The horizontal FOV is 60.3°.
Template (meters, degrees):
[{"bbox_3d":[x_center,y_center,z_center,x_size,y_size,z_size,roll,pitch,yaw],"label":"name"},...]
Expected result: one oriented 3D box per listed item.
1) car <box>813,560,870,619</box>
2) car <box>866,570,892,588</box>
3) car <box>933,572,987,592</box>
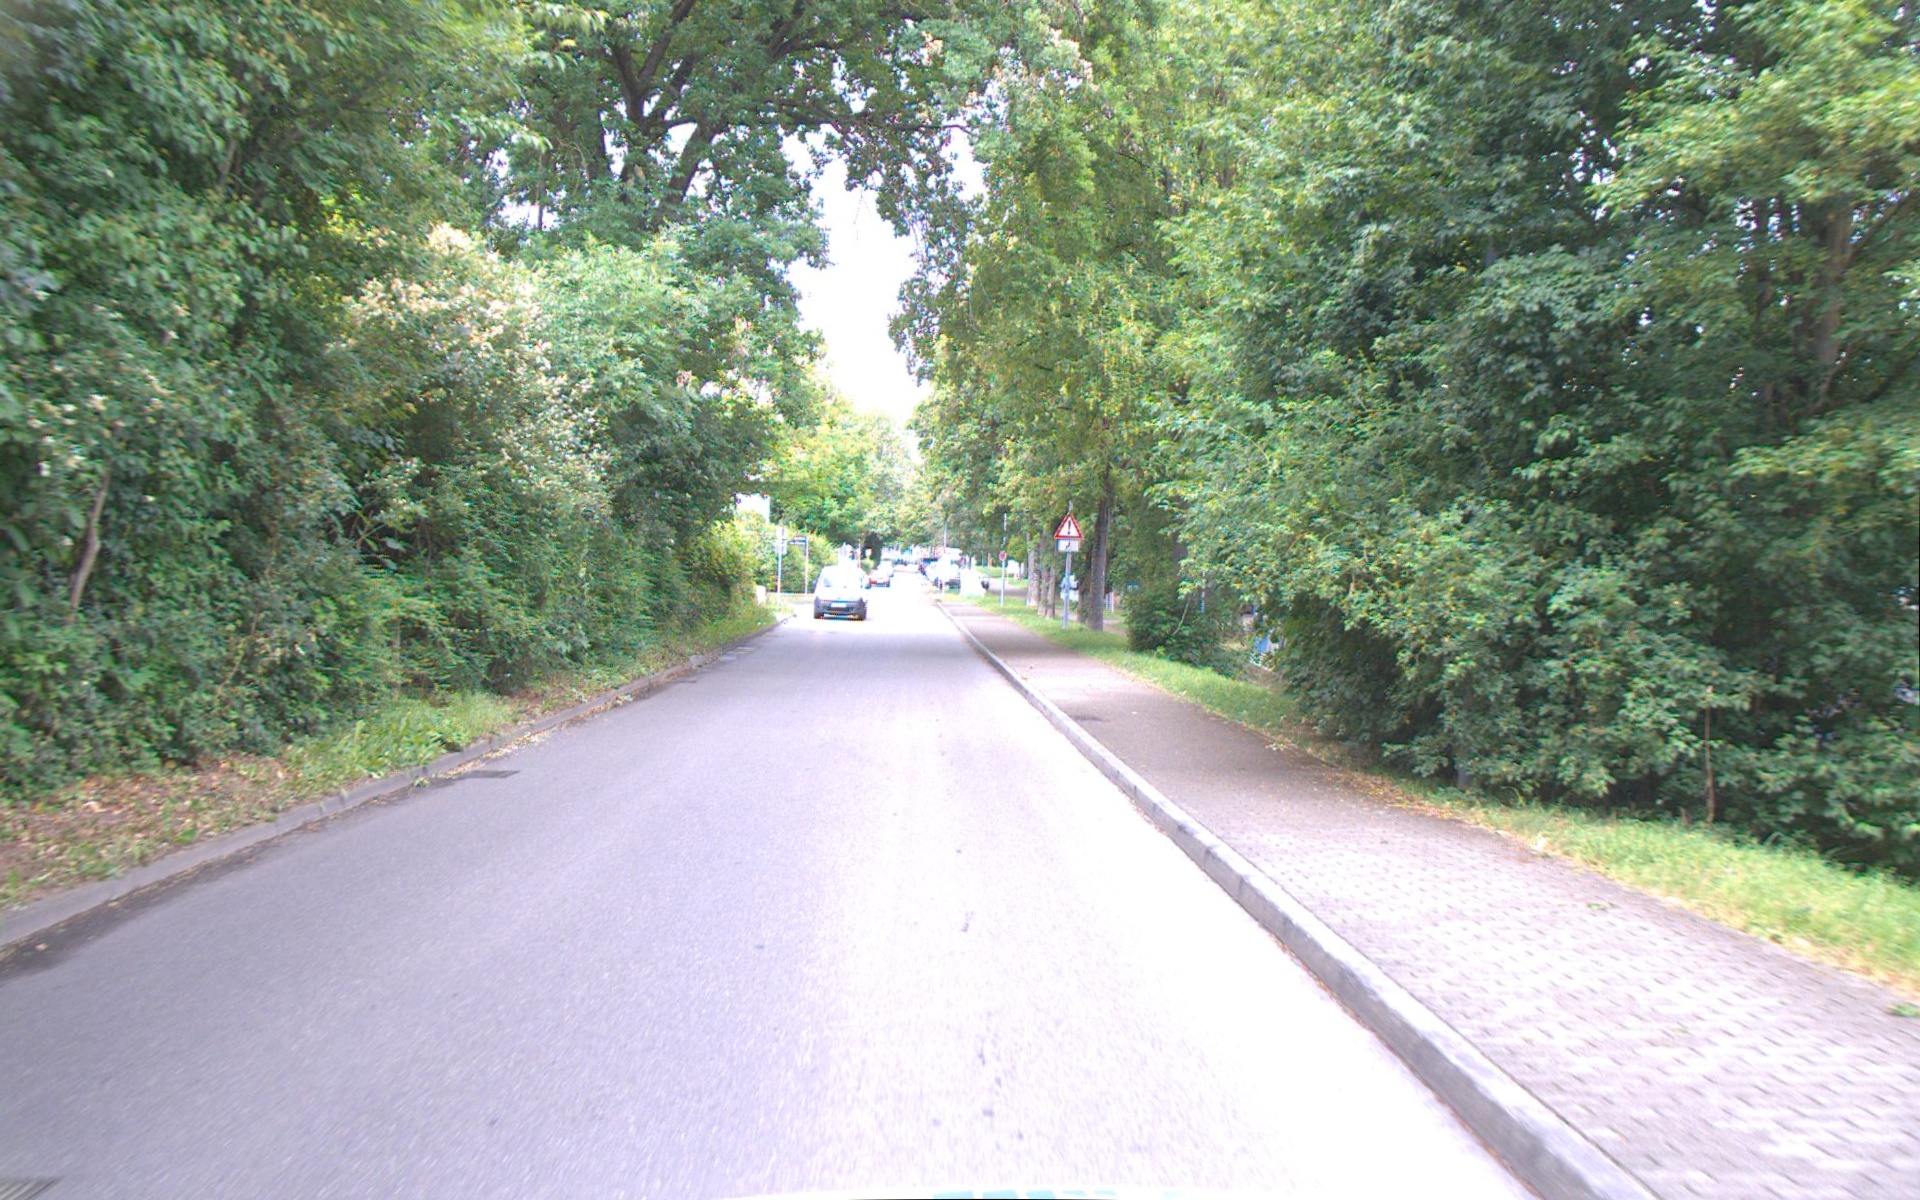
[{"bbox_3d":[-4.094,-0.351,57.548,1.835,1.947,4.429,1,0,-3],"label":"car"},{"bbox_3d":[-6.578,-1.711,133.643,1.717,1.359,4.059,3,1,-8],"label":"car"},{"bbox_3d":[-0.015,-1.395,127.501,3.982,1.459,1.999,1,0,-3],"label":"car"}]
